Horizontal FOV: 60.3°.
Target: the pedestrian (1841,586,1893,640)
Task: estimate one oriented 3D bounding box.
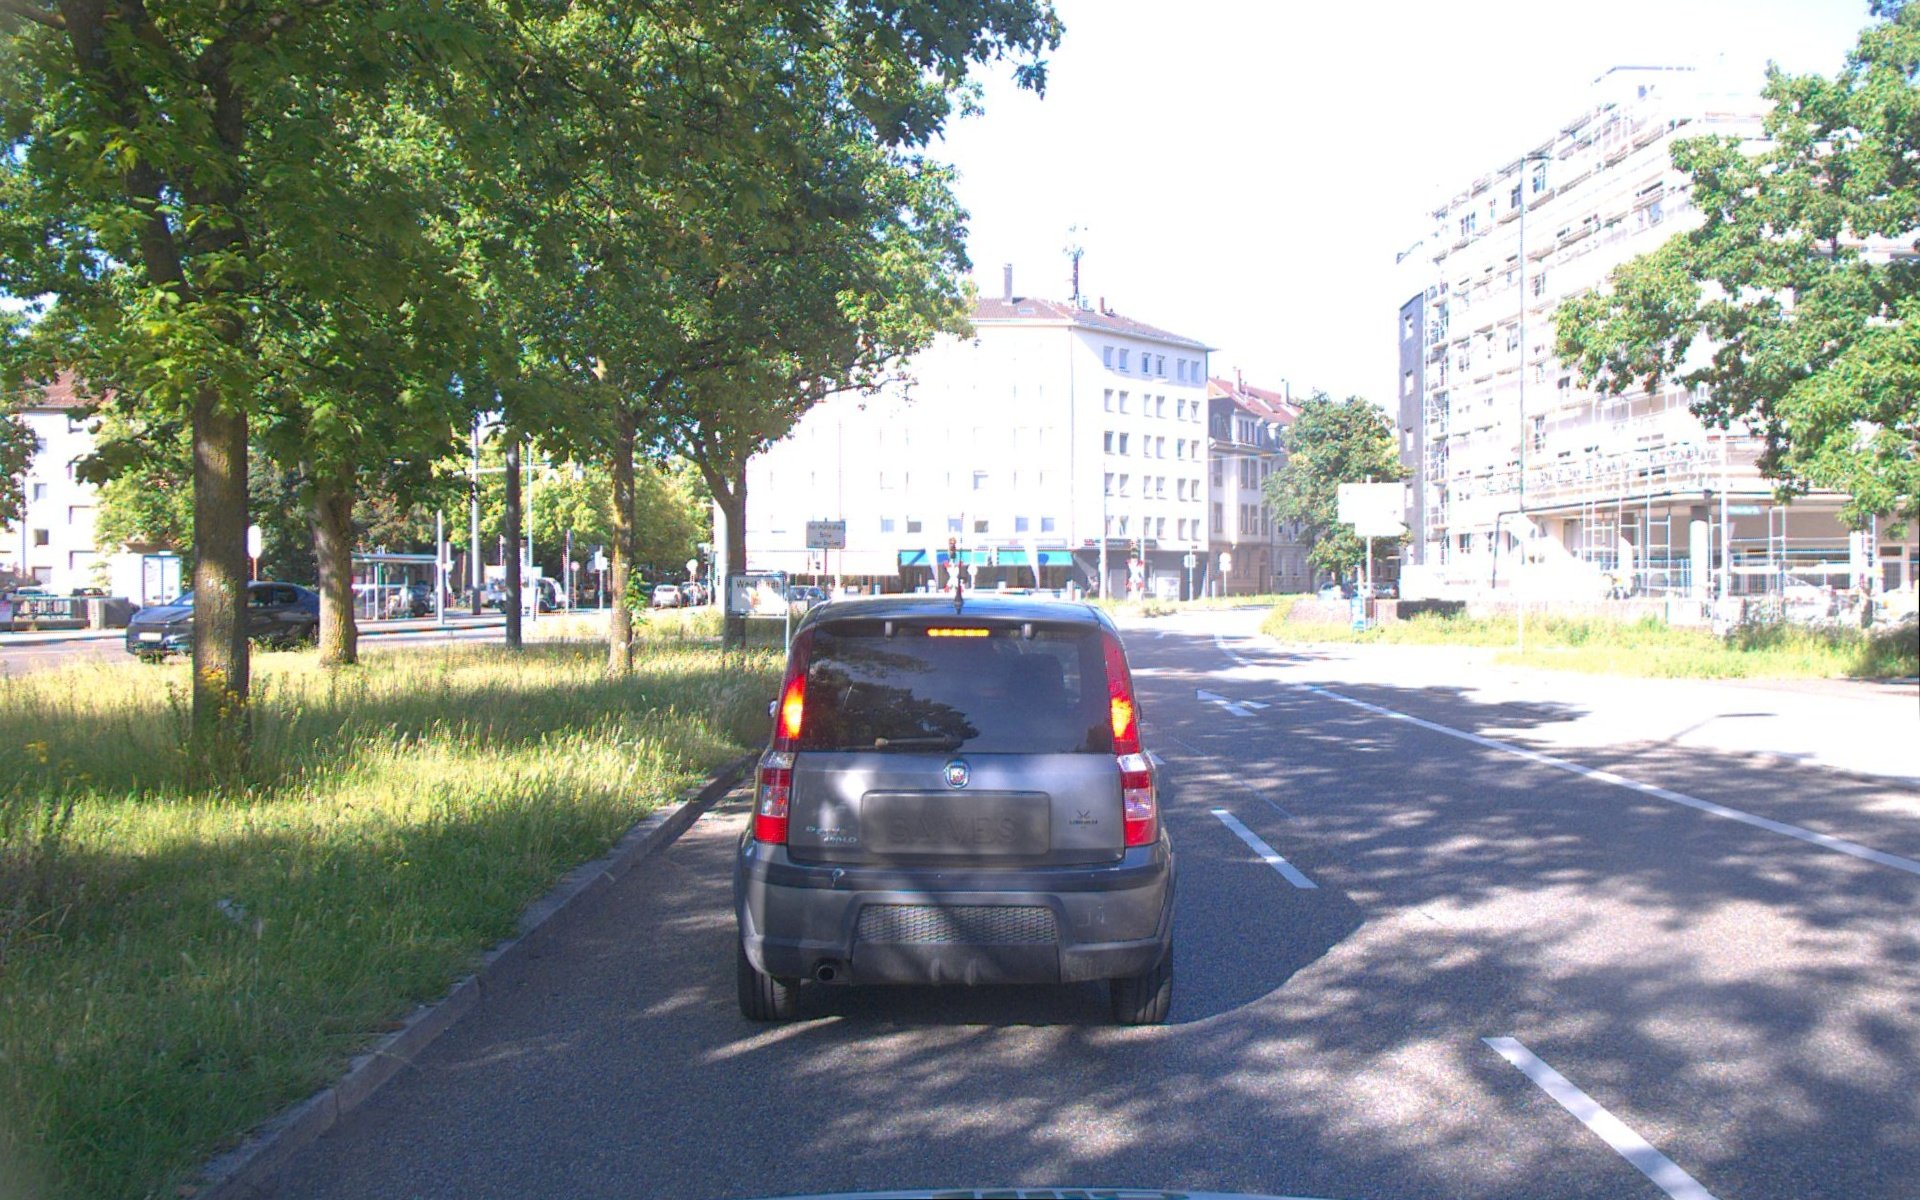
[{"bbox_3d":[25.067,0.339,45.696,0.883,1.472,0.956,-1,0,-31],"label":"pedestrian"}]

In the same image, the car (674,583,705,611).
[{"bbox_3d":[-20.162,-0.266,123.276,1.954,2.049,3.996,0,1,-5],"label":"car"}]

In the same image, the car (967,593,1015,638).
[{"bbox_3d":[0.914,0.445,49.600,1.328,1.304,2.875,0,1,-1],"label":"car"}]

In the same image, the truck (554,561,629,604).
[{"bbox_3d":[-28.367,-1.353,127.360,5.371,3.224,2.341,0,0,28],"label":"truck"}]

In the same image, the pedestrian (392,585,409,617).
[{"bbox_3d":[-25.107,0.036,74.235,0.407,1.415,0.626,0,0,26],"label":"pedestrian"}]

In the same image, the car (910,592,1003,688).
[{"bbox_3d":[-0.083,0.611,27.272,1.434,1.449,3.381,0,1,-1],"label":"car"}]

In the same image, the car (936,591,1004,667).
[{"bbox_3d":[0.175,0.558,33.854,1.328,1.475,3.265,0,0,-1],"label":"car"}]

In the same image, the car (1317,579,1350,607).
[{"bbox_3d":[20.498,-0.395,90.708,1.646,1.475,3.574,0,1,15],"label":"car"}]

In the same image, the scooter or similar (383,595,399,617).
[{"bbox_3d":[-25.345,0.268,73.712,0.411,0.943,0.534,0,0,25],"label":"scooter or similar"}]

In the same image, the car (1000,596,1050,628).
[{"bbox_3d":[2.280,0.403,57.696,1.118,1.083,2.723,0,1,17],"label":"car"}]

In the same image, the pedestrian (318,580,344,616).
[{"bbox_3d":[-29.346,-0.091,77.194,0.904,1.636,0.794,0,0,38],"label":"pedestrian"}]

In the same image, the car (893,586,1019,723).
[{"bbox_3d":[-0.074,0.607,20.640,1.434,1.534,3.504,0,1,-1],"label":"car"}]

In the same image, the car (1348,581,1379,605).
[{"bbox_3d":[23.003,-0.397,94.238,1.495,1.337,3.289,0,1,17],"label":"car"}]

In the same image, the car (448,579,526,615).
[{"bbox_3d":[-27.937,-0.181,97.742,4.093,2.049,1.930,0,0,-3],"label":"car"}]

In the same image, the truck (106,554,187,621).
[{"bbox_3d":[-35.749,-0.548,72.681,3.932,2.854,1.987,0,1,44],"label":"truck"}]

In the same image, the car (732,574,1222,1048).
[{"bbox_3d":[0.030,0.663,7.406,1.595,1.534,3.999,0,1,-1],"label":"car"}]

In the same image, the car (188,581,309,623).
[{"bbox_3d":[-29.960,0.052,69.775,1.961,1.713,4.302,0,1,38],"label":"car"}]

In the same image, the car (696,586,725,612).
[{"bbox_3d":[-20.047,-0.111,132.996,1.954,2.049,3.996,0,1,-5],"label":"car"}]

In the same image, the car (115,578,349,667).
[{"bbox_3d":[-14.571,0.393,33.387,1.788,1.676,4.463,0,1,18],"label":"car"}]

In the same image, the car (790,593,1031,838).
[{"bbox_3d":[-0.319,0.685,11.571,1.434,1.425,3.393,0,1,-1],"label":"car"}]
